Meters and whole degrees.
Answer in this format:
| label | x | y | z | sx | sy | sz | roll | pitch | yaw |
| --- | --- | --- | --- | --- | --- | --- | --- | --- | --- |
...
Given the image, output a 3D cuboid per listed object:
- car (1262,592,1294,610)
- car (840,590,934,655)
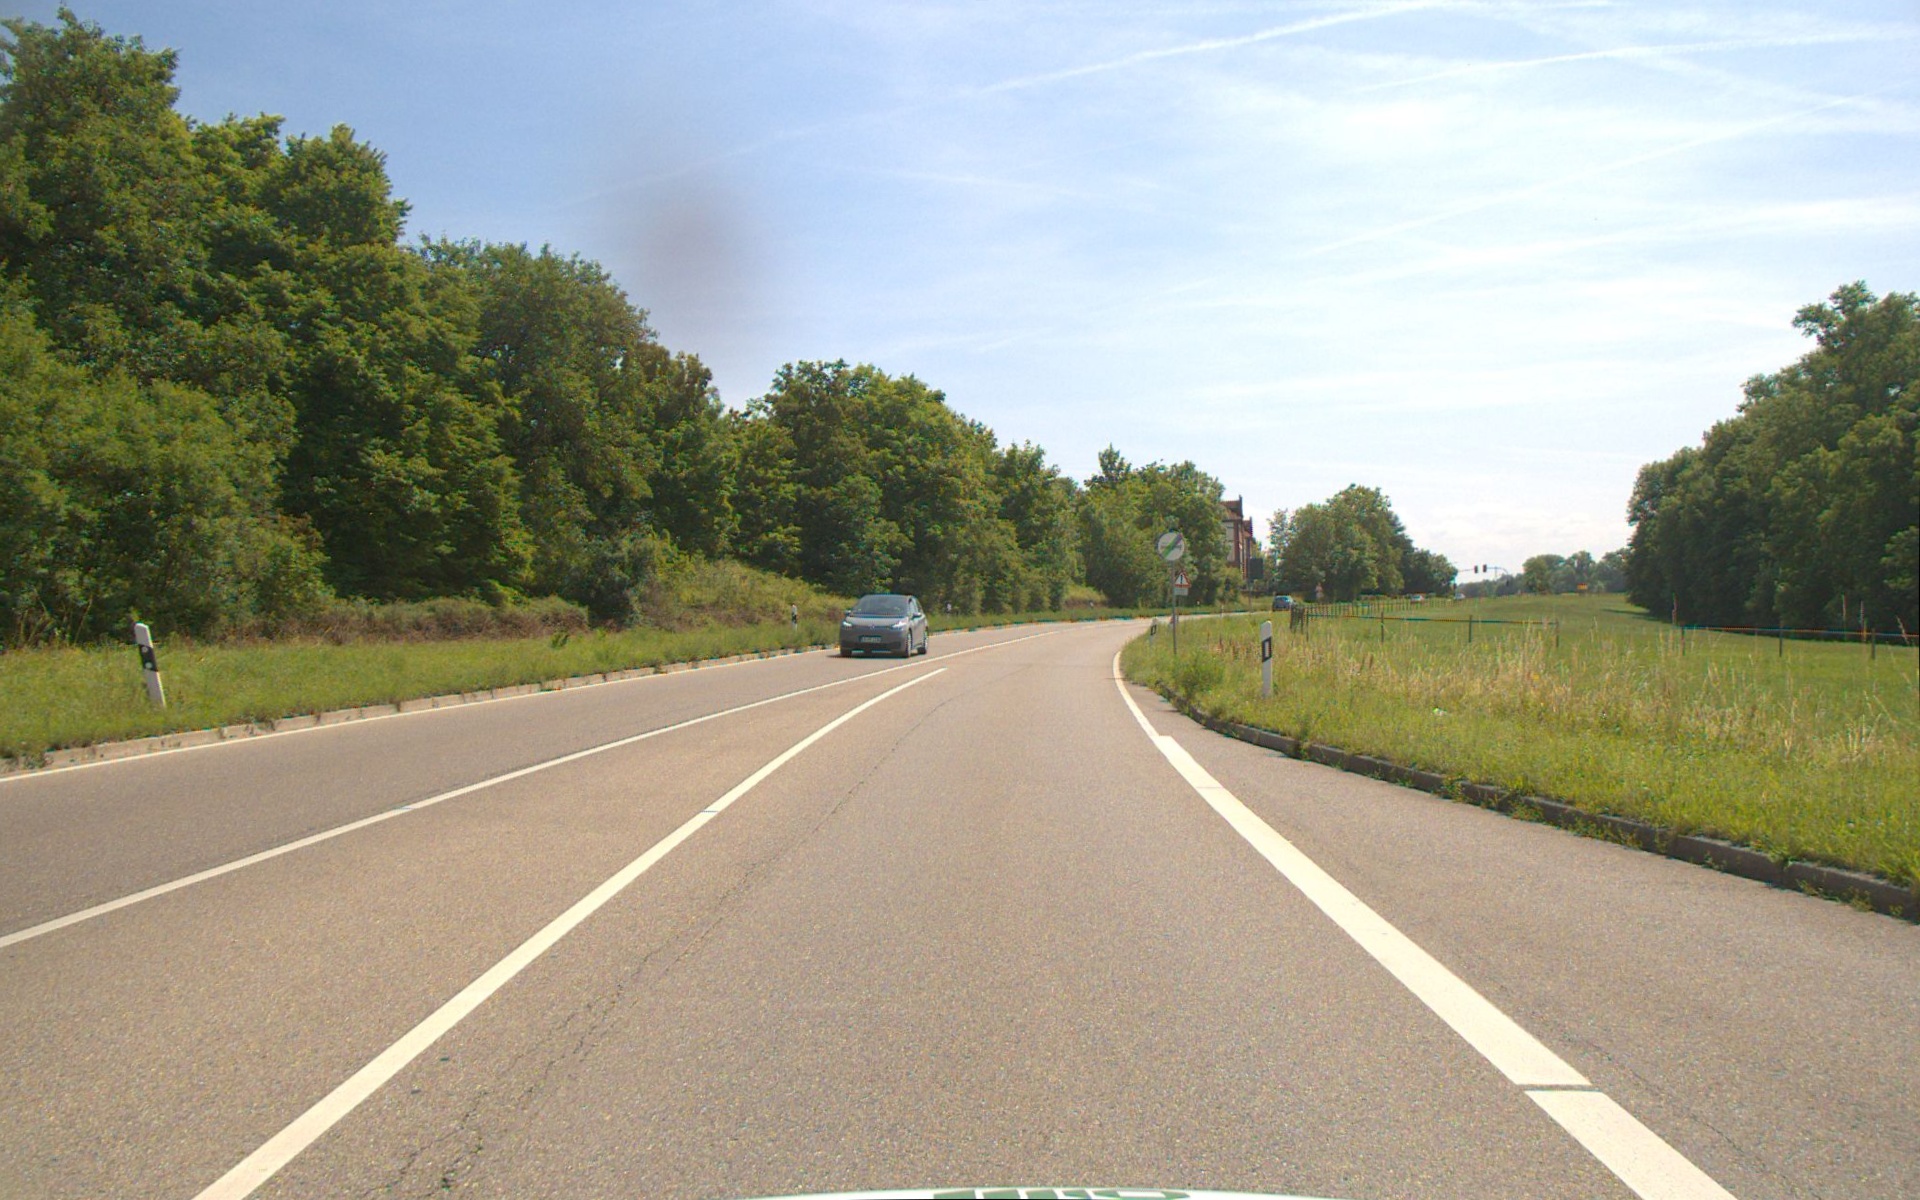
| label | x | y | z | sx | sy | sz | roll | pitch | yaw |
| --- | --- | --- | --- | --- | --- | --- | --- | --- | --- |
| car | 29.264 | 0.114 | 152.071 | 1.955 | 1.601 | 3.996 | 0 | 0 | 26 |
| car | -1.828 | 0.540 | 42.696 | 1.717 | 1.561 | 4.231 | 1 | 0 | 7 |
